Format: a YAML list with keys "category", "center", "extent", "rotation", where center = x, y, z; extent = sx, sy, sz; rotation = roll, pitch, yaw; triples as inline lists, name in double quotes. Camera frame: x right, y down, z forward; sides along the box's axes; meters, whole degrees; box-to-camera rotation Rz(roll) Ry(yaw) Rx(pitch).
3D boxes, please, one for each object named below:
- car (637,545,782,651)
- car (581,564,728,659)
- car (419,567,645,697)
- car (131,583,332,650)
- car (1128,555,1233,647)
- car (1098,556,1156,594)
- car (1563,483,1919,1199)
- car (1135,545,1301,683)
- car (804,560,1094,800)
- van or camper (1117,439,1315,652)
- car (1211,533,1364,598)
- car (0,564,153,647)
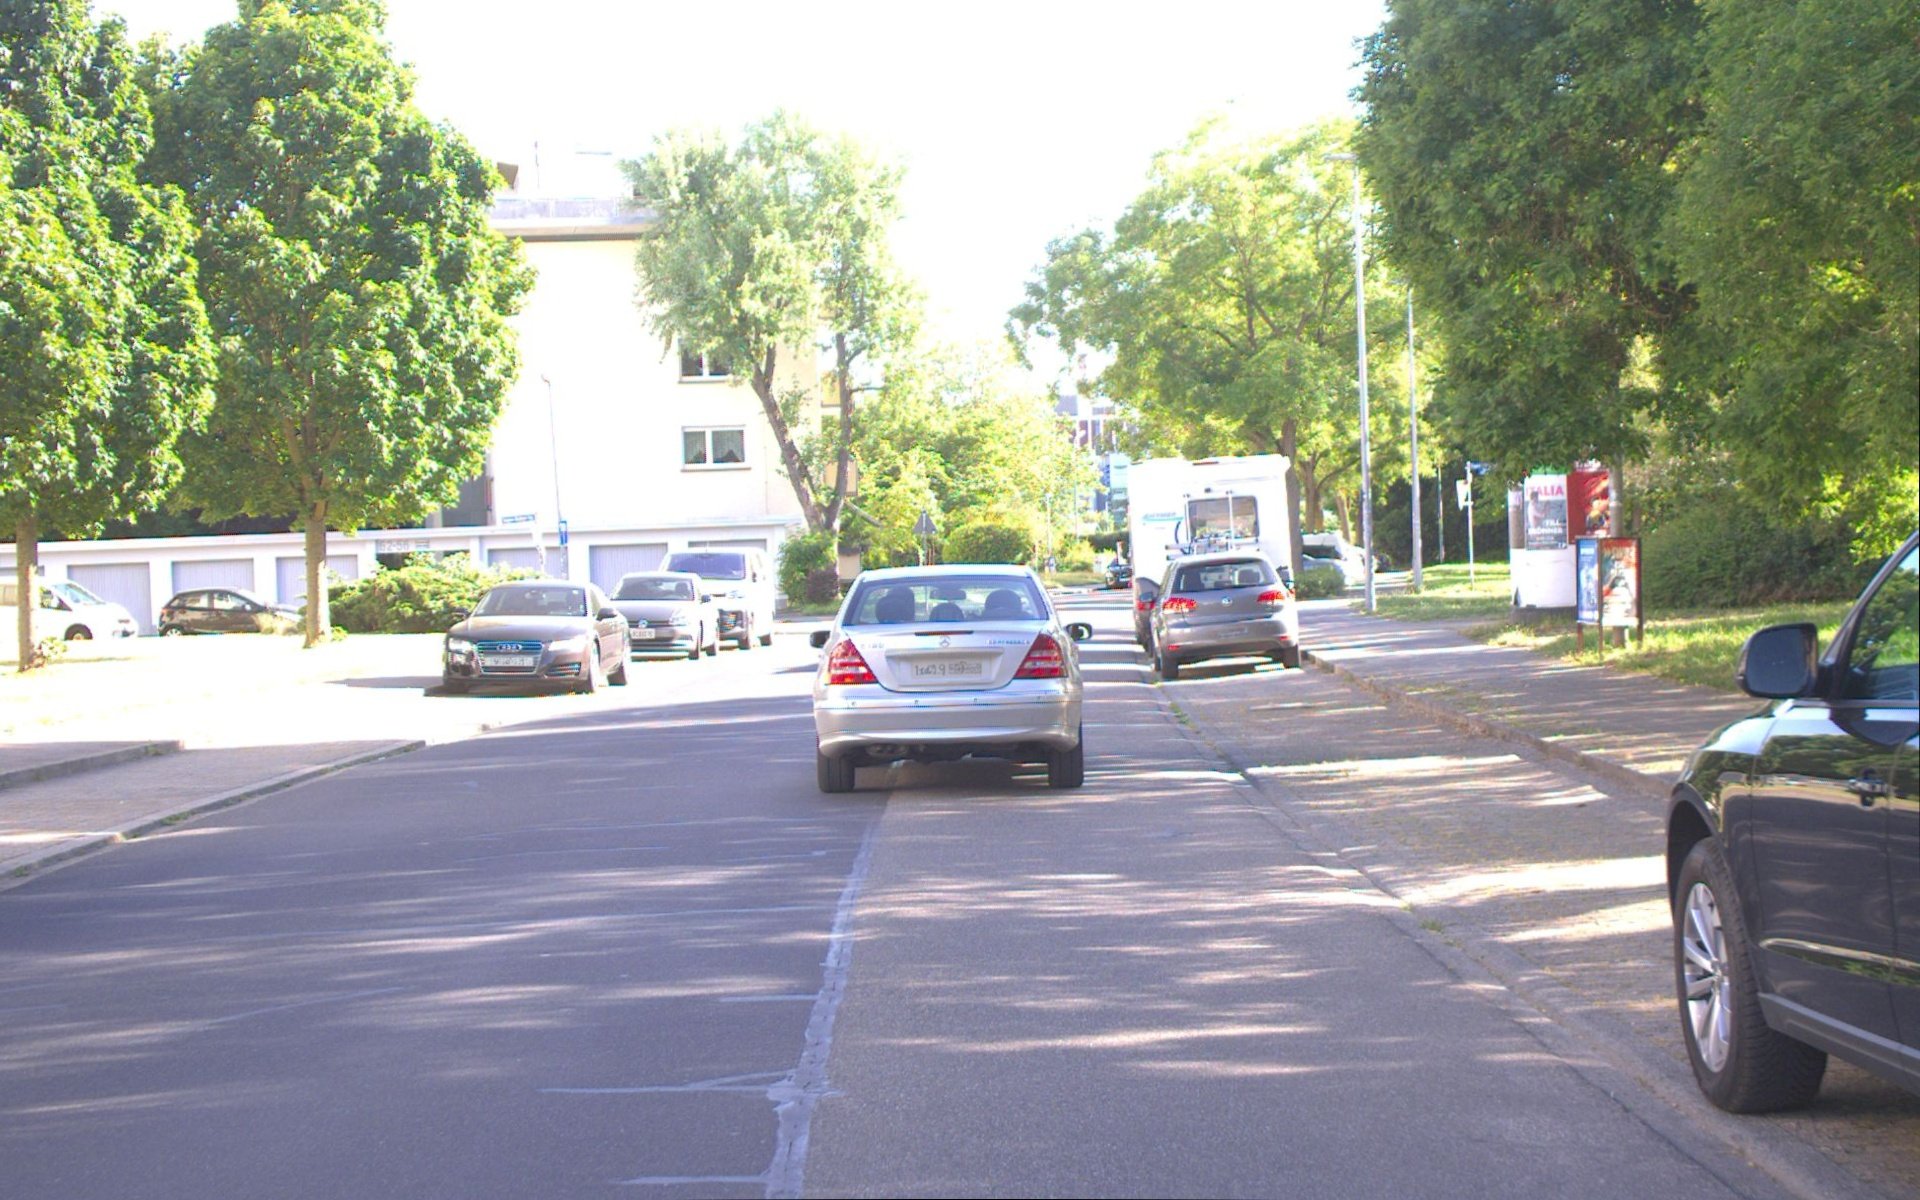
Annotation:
- category: "car"
  center: [-4.625, -0.050, 64.157]
  extent: [2.014, 1.879, 5.190]
  rotation: [0, 0, 3]
- category: "car"
  center: [-5.067, 0.166, 57.487]
  extent: [1.833, 1.513, 4.221]
  rotation: [0, 0, 3]
- category: "car"
  center: [-5.467, 0.362, 44.583]
  extent: [2.035, 1.487, 5.256]
  rotation: [-2, 1, 2]
- category: "car"
  center: [-18.311, 0.416, 86.511]
  extent: [4.444, 1.456, 2.042]
  rotation: [-2, 1, 10]
- category: "car"
  center: [3.815, -0.006, 59.894]
  extent: [1.691, 1.469, 4.000]
  rotation: [-3, 1, 3]
- category: "car"
  center: [7.262, -1.086, 148.909]
  extent: [1.914, 1.485, 3.835]
  rotation: [-5, 0, 10]
- category: "car"
  center: [2.905, 0.505, 7.726]
  extent: [1.993, 1.635, 4.537]
  rotation: [-4, 1, -3]
- category: "car"
  center: [3.247, 0.133, 43.940]
  extent: [1.720, 1.519, 4.429]
  rotation: [-5, 1, 1]
- category: "car"
  center: [-0.036, 0.484, 22.470]
  extent: [1.733, 1.429, 3.438]
  rotation: [-1, 0, 1]
- category: "van or camper"
  center: [3.703, -0.803, 51.029]
  extent: [2.496, 2.835, 6.851]
  rotation: [-3, 1, 2]
- category: "car"
  center: [11.003, -1.160, 115.752]
  extent: [4.884, 1.917, 2.000]
  rotation: [-3, 1, 1]
- category: "car"
  center: [-23.395, 0.172, 87.338]
  extent: [5.107, 1.944, 2.236]
  rotation: [-2, 1, 10]
